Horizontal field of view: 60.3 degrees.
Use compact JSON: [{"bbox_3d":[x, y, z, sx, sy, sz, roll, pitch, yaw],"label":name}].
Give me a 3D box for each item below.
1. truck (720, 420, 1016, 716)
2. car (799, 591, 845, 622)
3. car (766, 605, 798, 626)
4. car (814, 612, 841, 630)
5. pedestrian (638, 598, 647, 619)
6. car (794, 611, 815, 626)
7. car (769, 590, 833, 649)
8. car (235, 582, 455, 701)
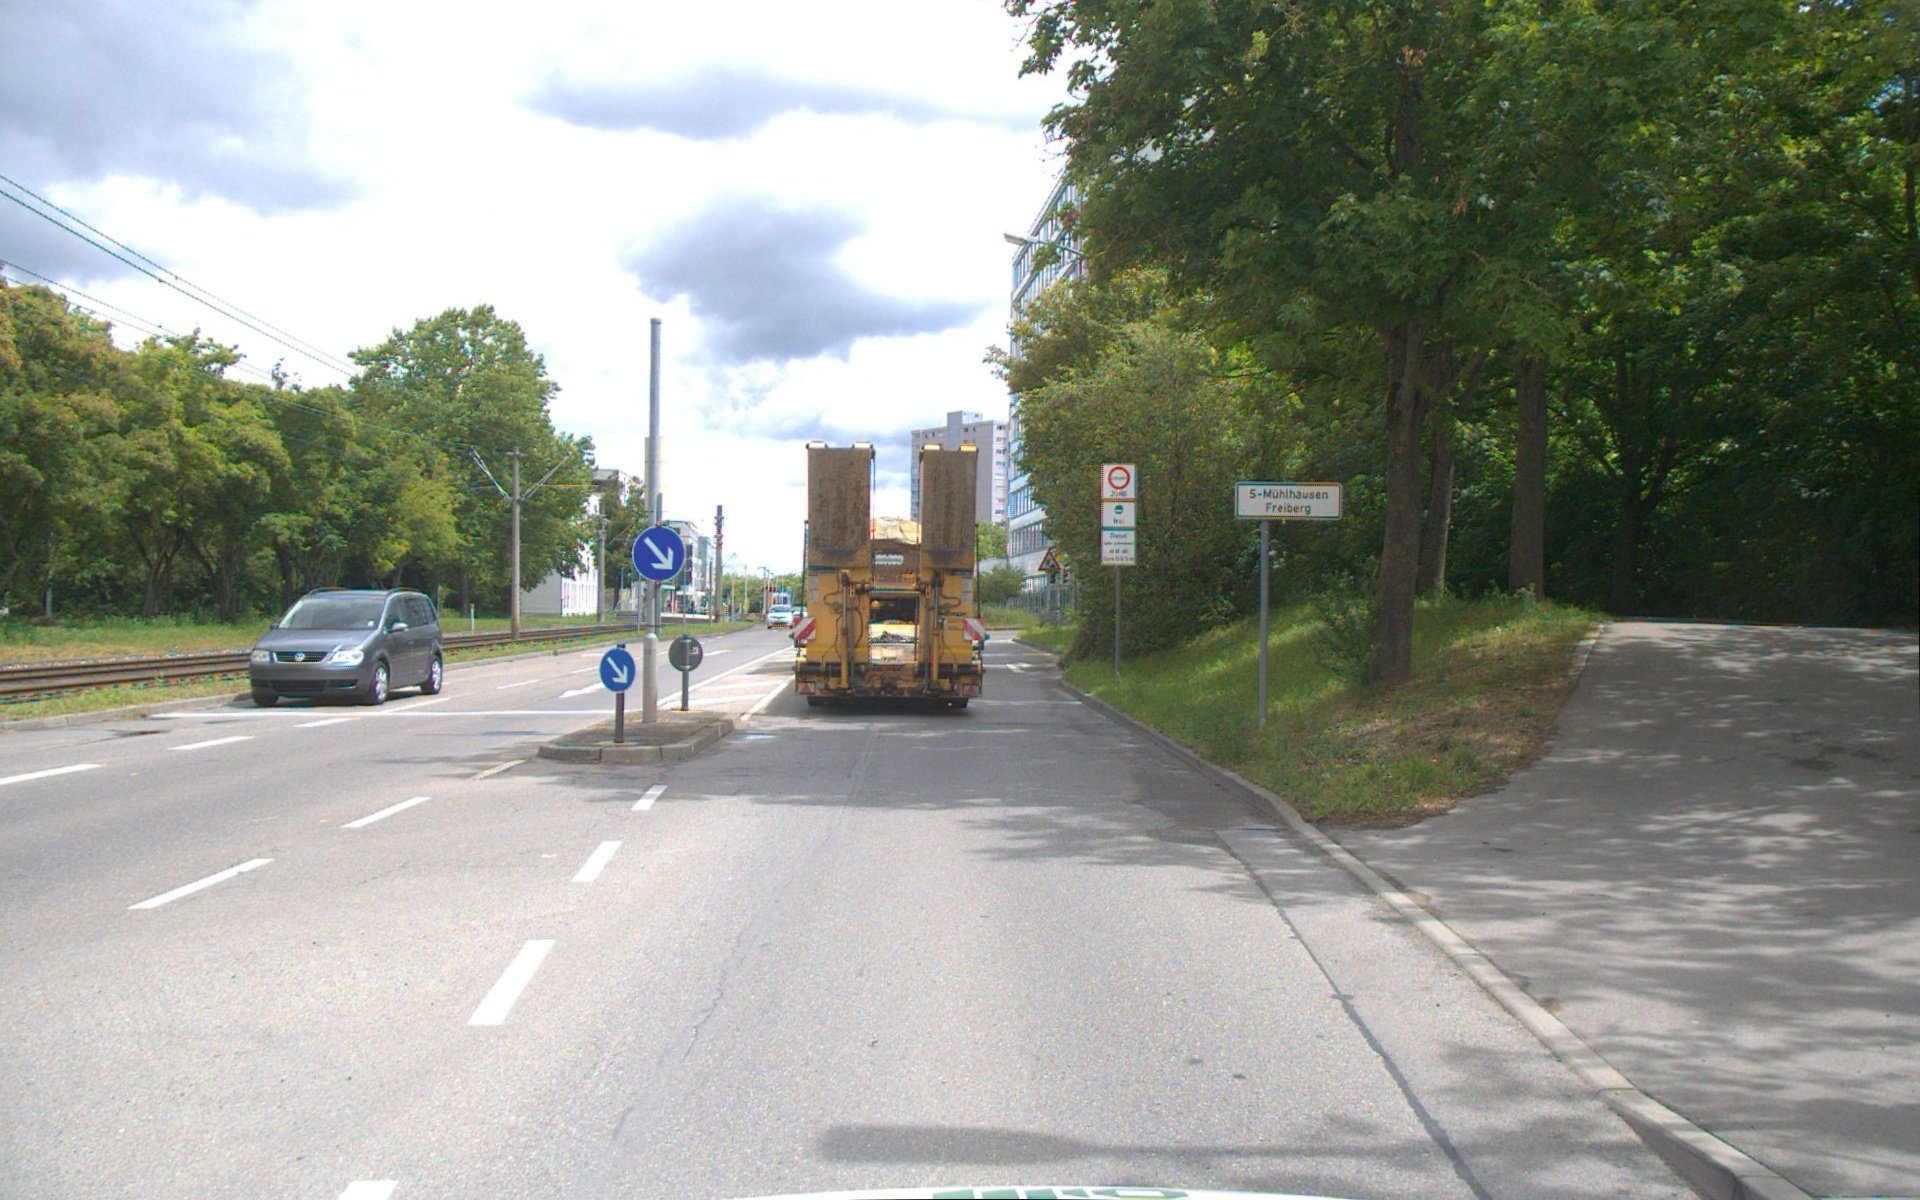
[{"bbox_3d":[-0.990,-0.379,27.762,3.246,3.714,12.567,2,0,4],"label":"truck"},{"bbox_3d":[-6.942,0.326,83.498,1.953,1.445,3.999,3,0,-1],"label":"car"},{"bbox_3d":[-11.644,1.005,108.140,1.748,1.294,4.343,1,0,-2],"label":"car"},{"bbox_3d":[-9.793,1.534,122.331,1.748,1.294,4.343,1,0,-2],"label":"car"},{"bbox_3d":[-31.194,0.861,162.544,0.639,2.049,0.653,3,-1,4],"label":"pedestrian"},{"bbox_3d":[-13.828,1.596,147.354,1.748,1.294,4.342,1,0,-3],"label":"car"},{"bbox_3d":[-5.771,0.694,60.412,1.953,1.959,3.999,3,0,-1],"label":"car"},{"bbox_3d":[-8.997,0.576,24.595,1.748,1.597,4.343,1,0,-2],"label":"car"}]
